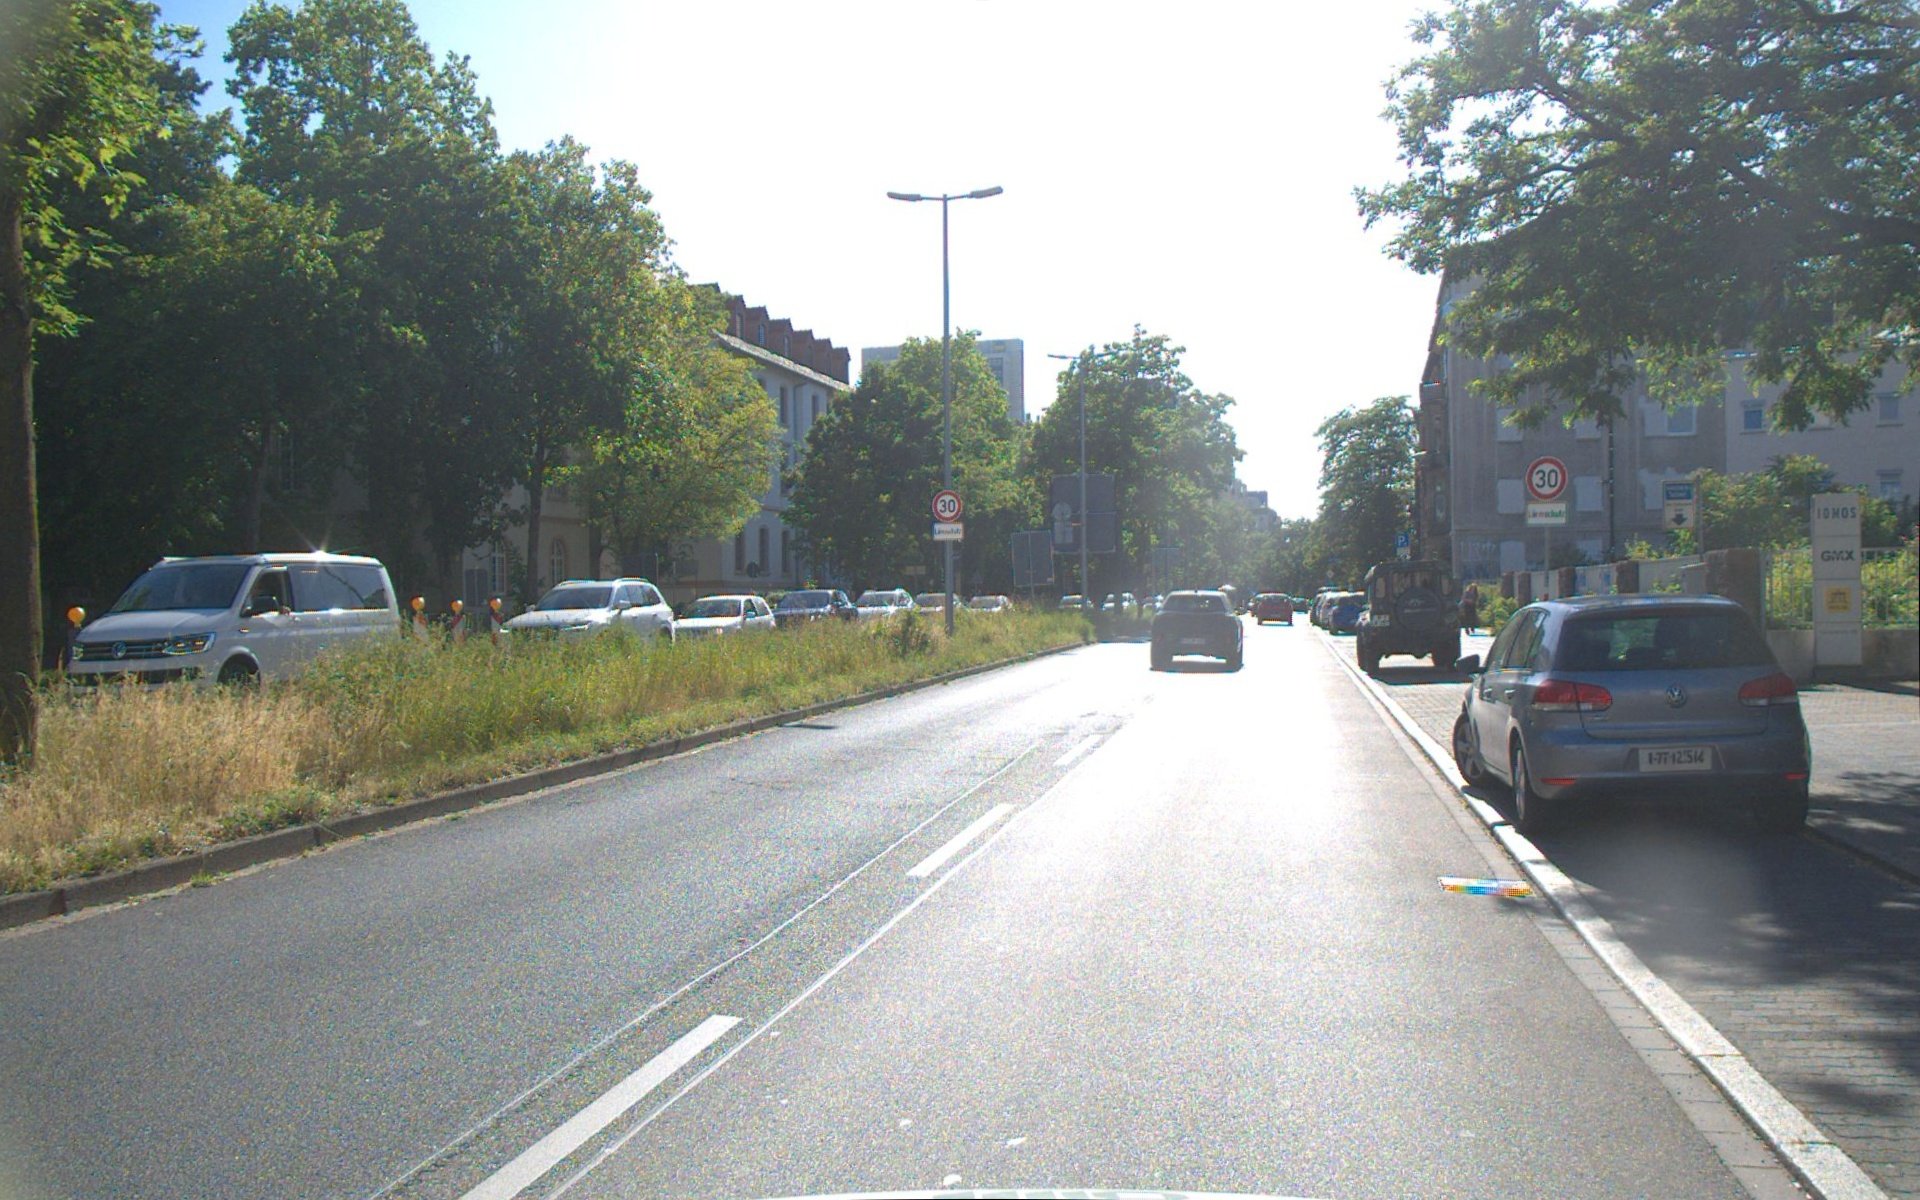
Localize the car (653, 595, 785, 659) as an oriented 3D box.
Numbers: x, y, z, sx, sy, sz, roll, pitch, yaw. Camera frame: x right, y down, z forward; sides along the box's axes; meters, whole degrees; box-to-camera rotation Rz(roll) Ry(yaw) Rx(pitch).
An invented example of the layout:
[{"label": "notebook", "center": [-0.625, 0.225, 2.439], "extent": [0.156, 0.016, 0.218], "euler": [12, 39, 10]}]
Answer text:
[{"label": "car", "center": [-5.510, 0.591, 38.345], "extent": [1.757, 1.375, 4.262], "euler": [-1, 0, 10]}]

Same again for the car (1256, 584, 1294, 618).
[{"label": "car", "center": [15.271, 0.044, 80.161], "extent": [1.754, 1.546, 3.853], "euler": [0, 1, 11]}]

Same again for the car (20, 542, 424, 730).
[{"label": "car", "center": [-9.004, 0.397, 20.805], "extent": [2.185, 2.063, 5.022], "euler": [-1, 0, 10]}]

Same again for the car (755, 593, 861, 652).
[{"label": "car", "center": [-4.138, 0.591, 45.721], "extent": [1.757, 1.545, 4.448], "euler": [-1, 0, 10]}]

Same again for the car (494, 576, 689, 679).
[{"label": "car", "center": [-6.804, 0.472, 31.185], "extent": [1.757, 1.774, 5.036], "euler": [-1, 0, 10]}]

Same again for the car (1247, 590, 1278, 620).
[{"label": "car", "center": [19.648, 0.330, 107.461], "extent": [1.919, 1.914, 4.003], "euler": [-1, 0, 10]}]

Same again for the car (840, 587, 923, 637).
[{"label": "car", "center": [-2.518, 0.367, 53.957], "extent": [1.757, 1.545, 4.262], "euler": [-1, 0, 10]}]

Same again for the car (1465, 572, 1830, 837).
[{"label": "car", "center": [4.677, 0.592, 11.831], "extent": [1.603, 1.473, 4.160], "euler": [-1, 2, 11]}]

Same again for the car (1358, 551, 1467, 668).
[{"label": "car", "center": [8.703, 0.186, 32.125], "extent": [1.625, 2.049, 4.780], "euler": [-2, -1, 11]}]

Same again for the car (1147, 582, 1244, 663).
[{"label": "car", "center": [4.949, 0.435, 34.646], "extent": [1.854, 1.545, 4.003], "euler": [1, 0, 9]}]

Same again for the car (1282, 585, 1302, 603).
[{"label": "car", "center": [32.146, -0.594, 160.148], "extent": [1.879, 1.668, 4.004], "euler": [-1, 0, 11]}]

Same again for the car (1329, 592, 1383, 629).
[{"label": "car", "center": [14.837, 0.365, 62.096], "extent": [1.632, 1.203, 3.904], "euler": [-4, 0, 10]}]

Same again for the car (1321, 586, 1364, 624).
[{"label": "car", "center": [16.571, 0.205, 71.796], "extent": [1.574, 1.471, 3.662], "euler": [-4, 0, 10]}]

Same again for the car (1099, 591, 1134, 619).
[{"label": "car", "center": [10.114, 0.316, 106.553], "extent": [1.860, 1.654, 4.541], "euler": [-2, 0, 10]}]
